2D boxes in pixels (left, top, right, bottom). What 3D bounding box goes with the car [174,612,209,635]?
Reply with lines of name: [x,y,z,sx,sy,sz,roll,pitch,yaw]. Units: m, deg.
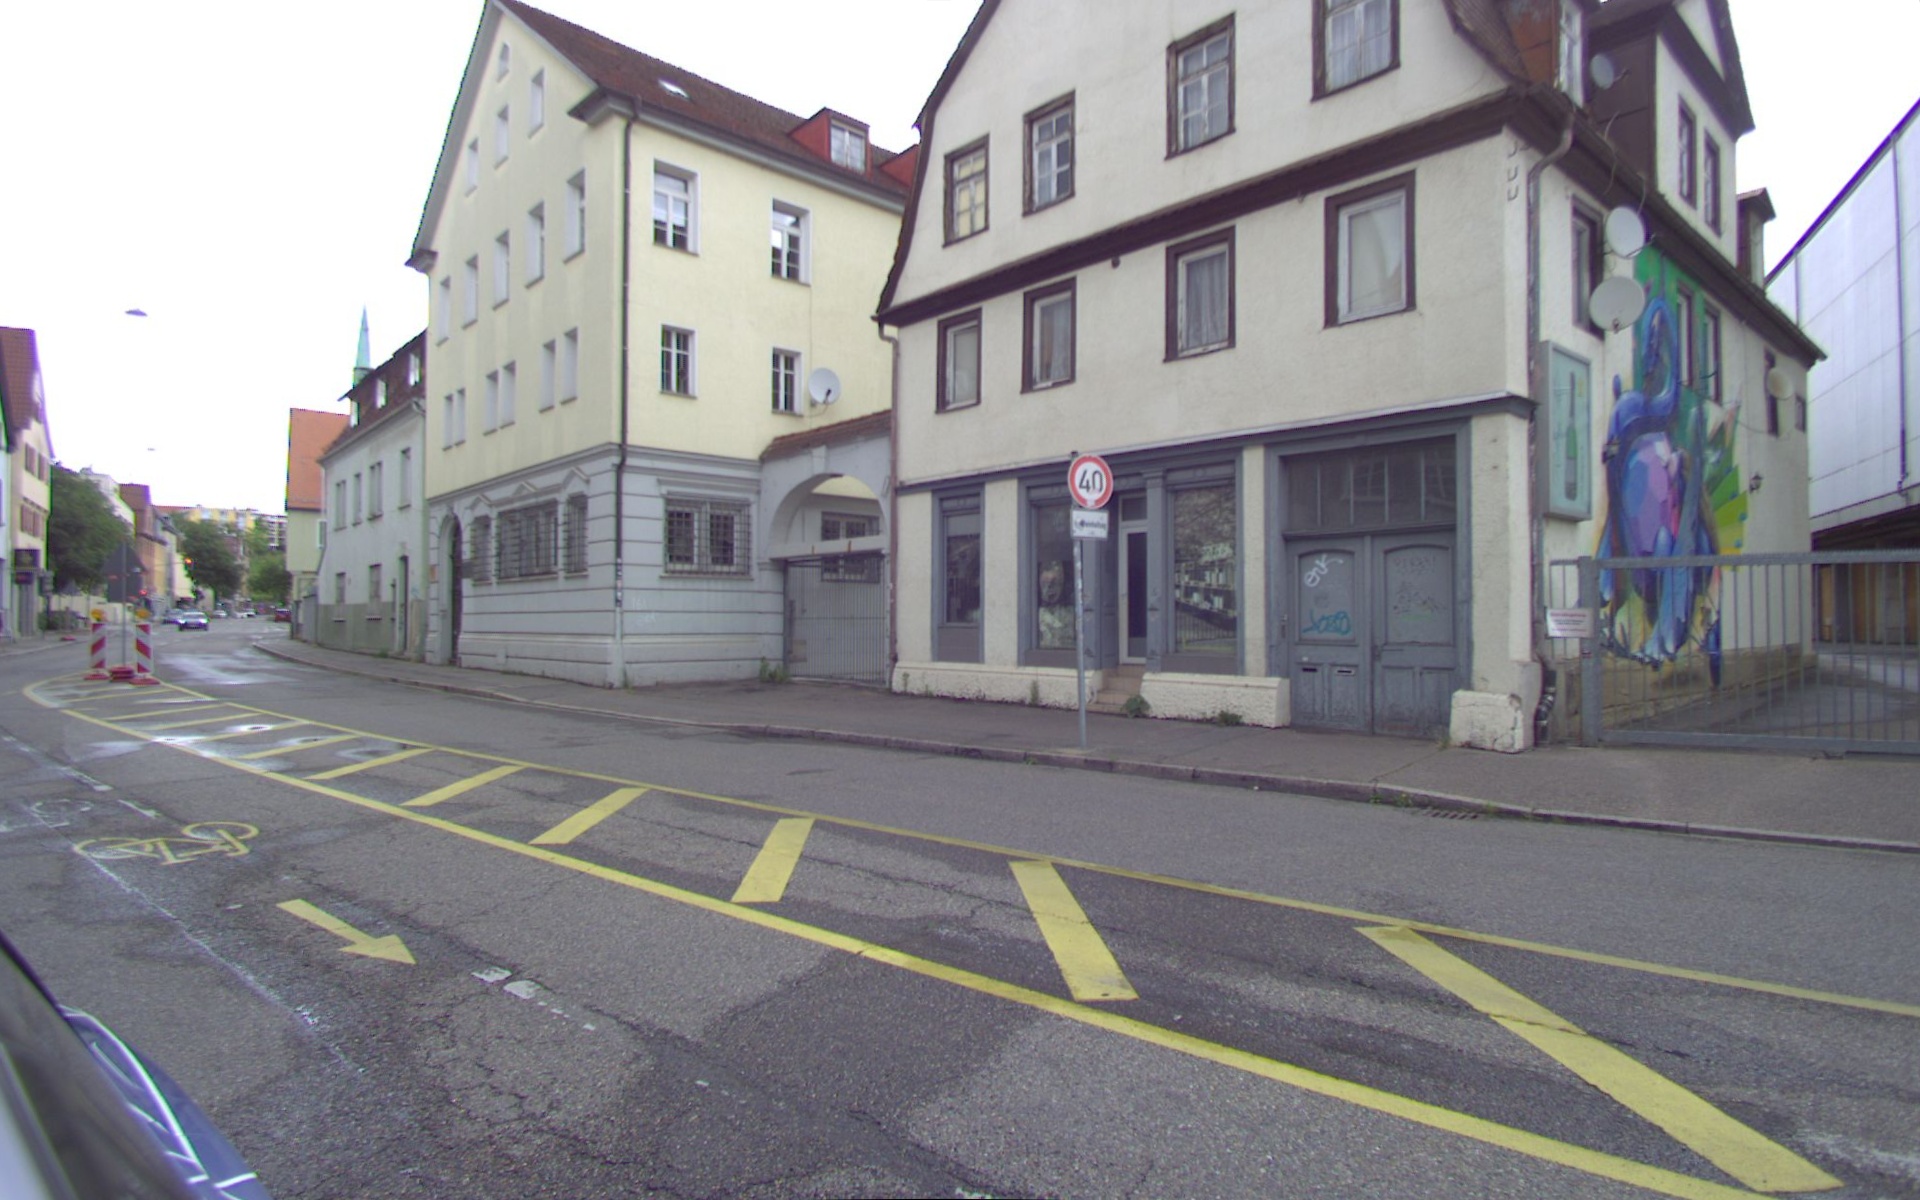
car: [-60.717,1.820,80.021,1.967,1.691,4.010,0,0,-34]

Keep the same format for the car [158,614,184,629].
car: [-84.966,2.285,109.012,2.001,1.567,4.010,2,-2,-35]

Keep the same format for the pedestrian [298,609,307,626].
pedestrian: [-79.958,2.143,123.030,0.823,2.029,0.847,1,-2,-36]

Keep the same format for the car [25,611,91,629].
car: [-77.425,1.734,86.911,3.932,1.475,2.006,0,0,-33]

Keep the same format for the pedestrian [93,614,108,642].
pedestrian: [-72.406,2.345,85.292,0.888,2.328,0.822,1,-2,-36]

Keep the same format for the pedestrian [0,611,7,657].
pedestrian: [-35.415,1.228,36.901,0.820,1.668,0.946,1,-2,-34]

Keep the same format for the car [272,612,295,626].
car: [-85.873,2.450,128.442,2.178,1.690,4.509,2,-2,-36]
